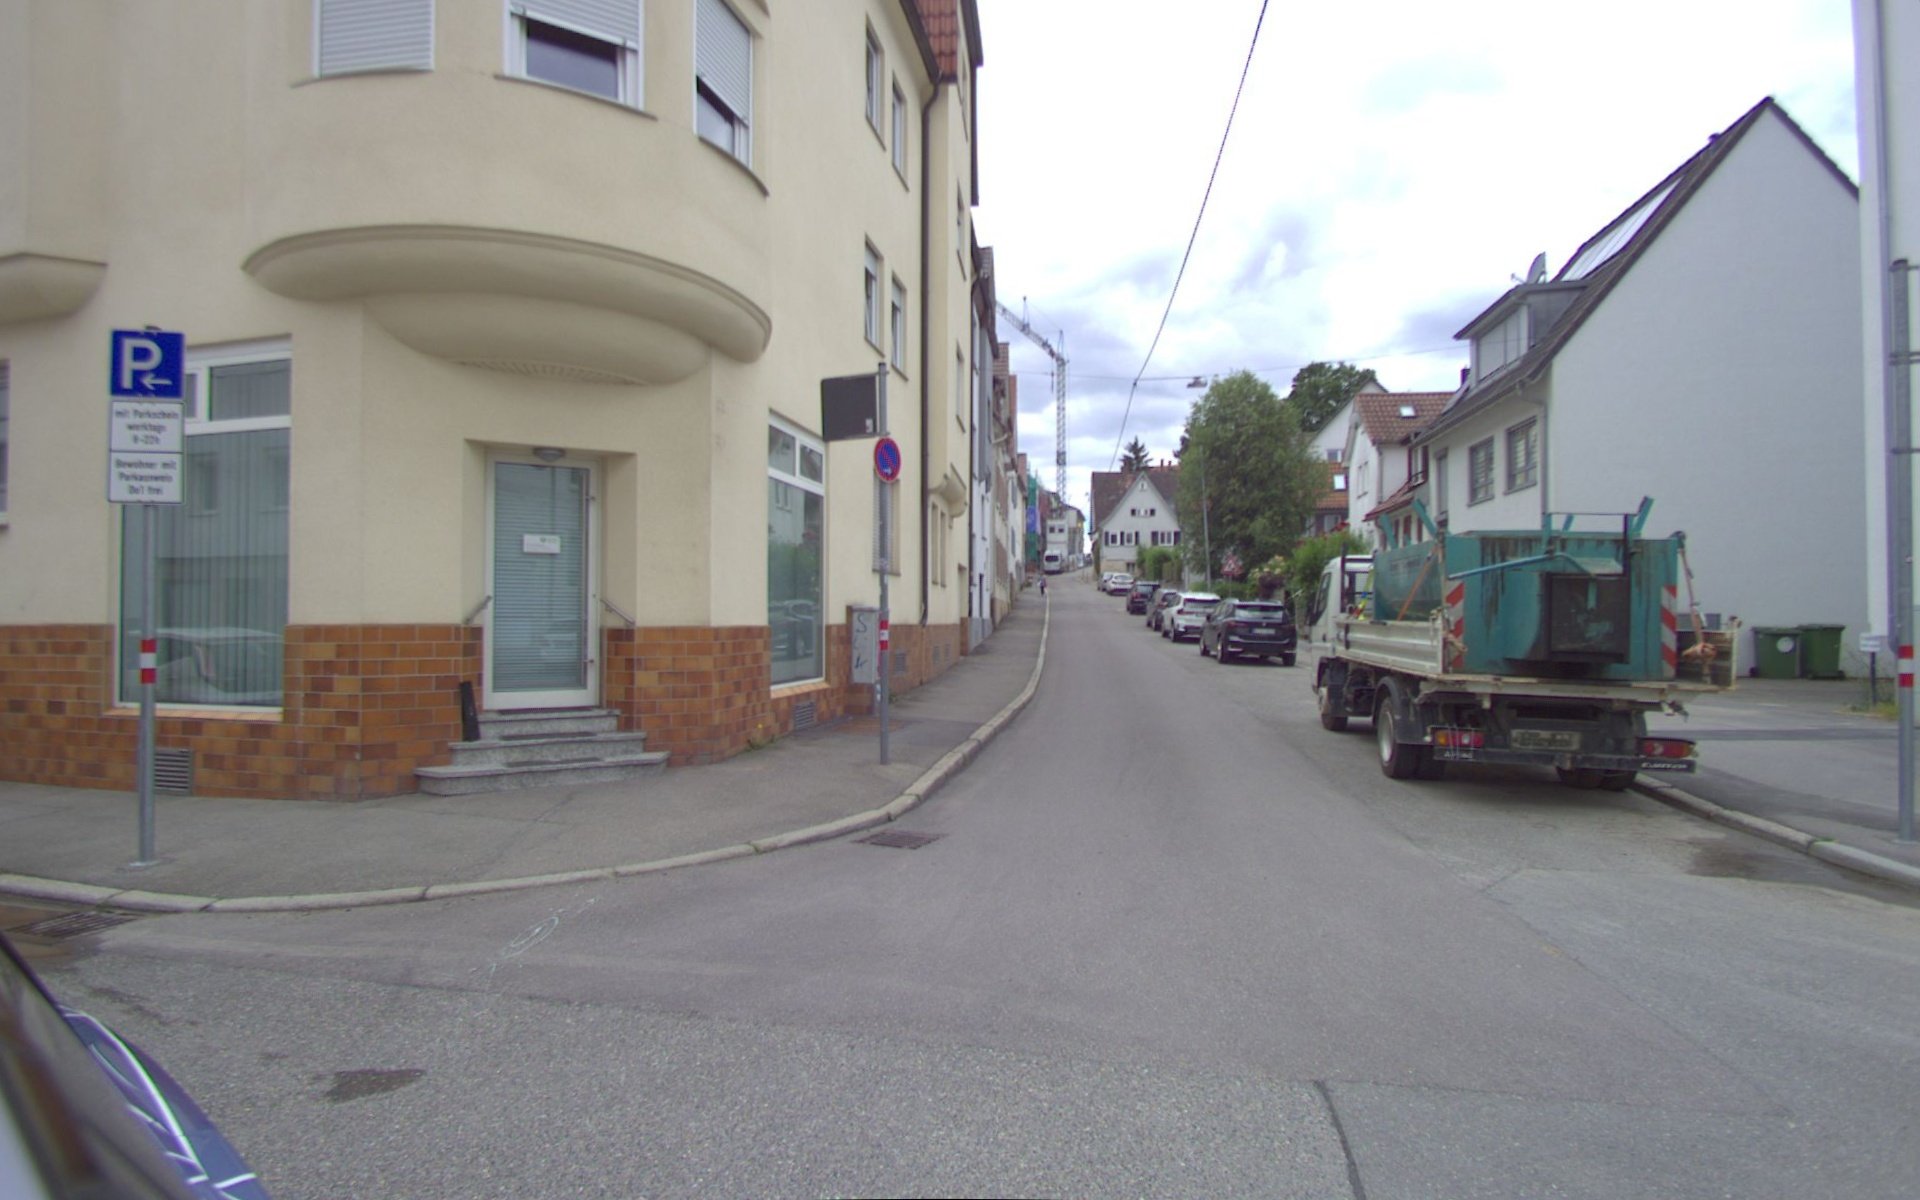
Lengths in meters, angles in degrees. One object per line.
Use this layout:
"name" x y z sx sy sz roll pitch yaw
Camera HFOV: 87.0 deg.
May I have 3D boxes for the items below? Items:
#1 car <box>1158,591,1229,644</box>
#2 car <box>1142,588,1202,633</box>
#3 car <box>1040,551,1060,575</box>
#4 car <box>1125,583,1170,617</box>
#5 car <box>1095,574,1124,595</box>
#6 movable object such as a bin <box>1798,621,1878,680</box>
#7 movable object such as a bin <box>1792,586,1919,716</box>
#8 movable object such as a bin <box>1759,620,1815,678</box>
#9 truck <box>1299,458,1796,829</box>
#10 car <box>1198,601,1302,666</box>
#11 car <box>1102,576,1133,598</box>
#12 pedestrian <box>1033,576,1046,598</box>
"car" 7.807 0.560 34.107 1.833 1.663 3.938 1 0 6
"car" 8.436 0.387 40.592 1.832 1.663 3.941 1 1 4
"car" 10.208 -4.195 115.193 2.167 2.665 5.818 1 2 5
"car" 9.586 -0.037 52.050 1.832 1.663 3.941 1 1 4
"car" 11.290 -1.178 76.499 1.832 1.460 3.942 1 3 4
"movable object such as a bin" 16.572 0.933 19.130 0.851 1.064 0.886 1 -1 19
"movable object such as a bin" 11.780 0.638 13.251 1.000 1.629 0.998 0 0 11
"movable object such as a bin" 15.810 0.921 19.367 0.563 1.064 0.810 1 -1 18
"truck" 5.175 0.332 10.304 2.292 2.571 6.268 1 -1 10
"car" 7.165 0.768 25.378 1.833 1.474 3.938 1 0 6
"car" 10.937 -0.931 70.401 1.832 1.460 3.941 1 1 4
"pedestrian" 5.422 -0.891 68.991 0.745 1.500 0.567 0 0 -7
